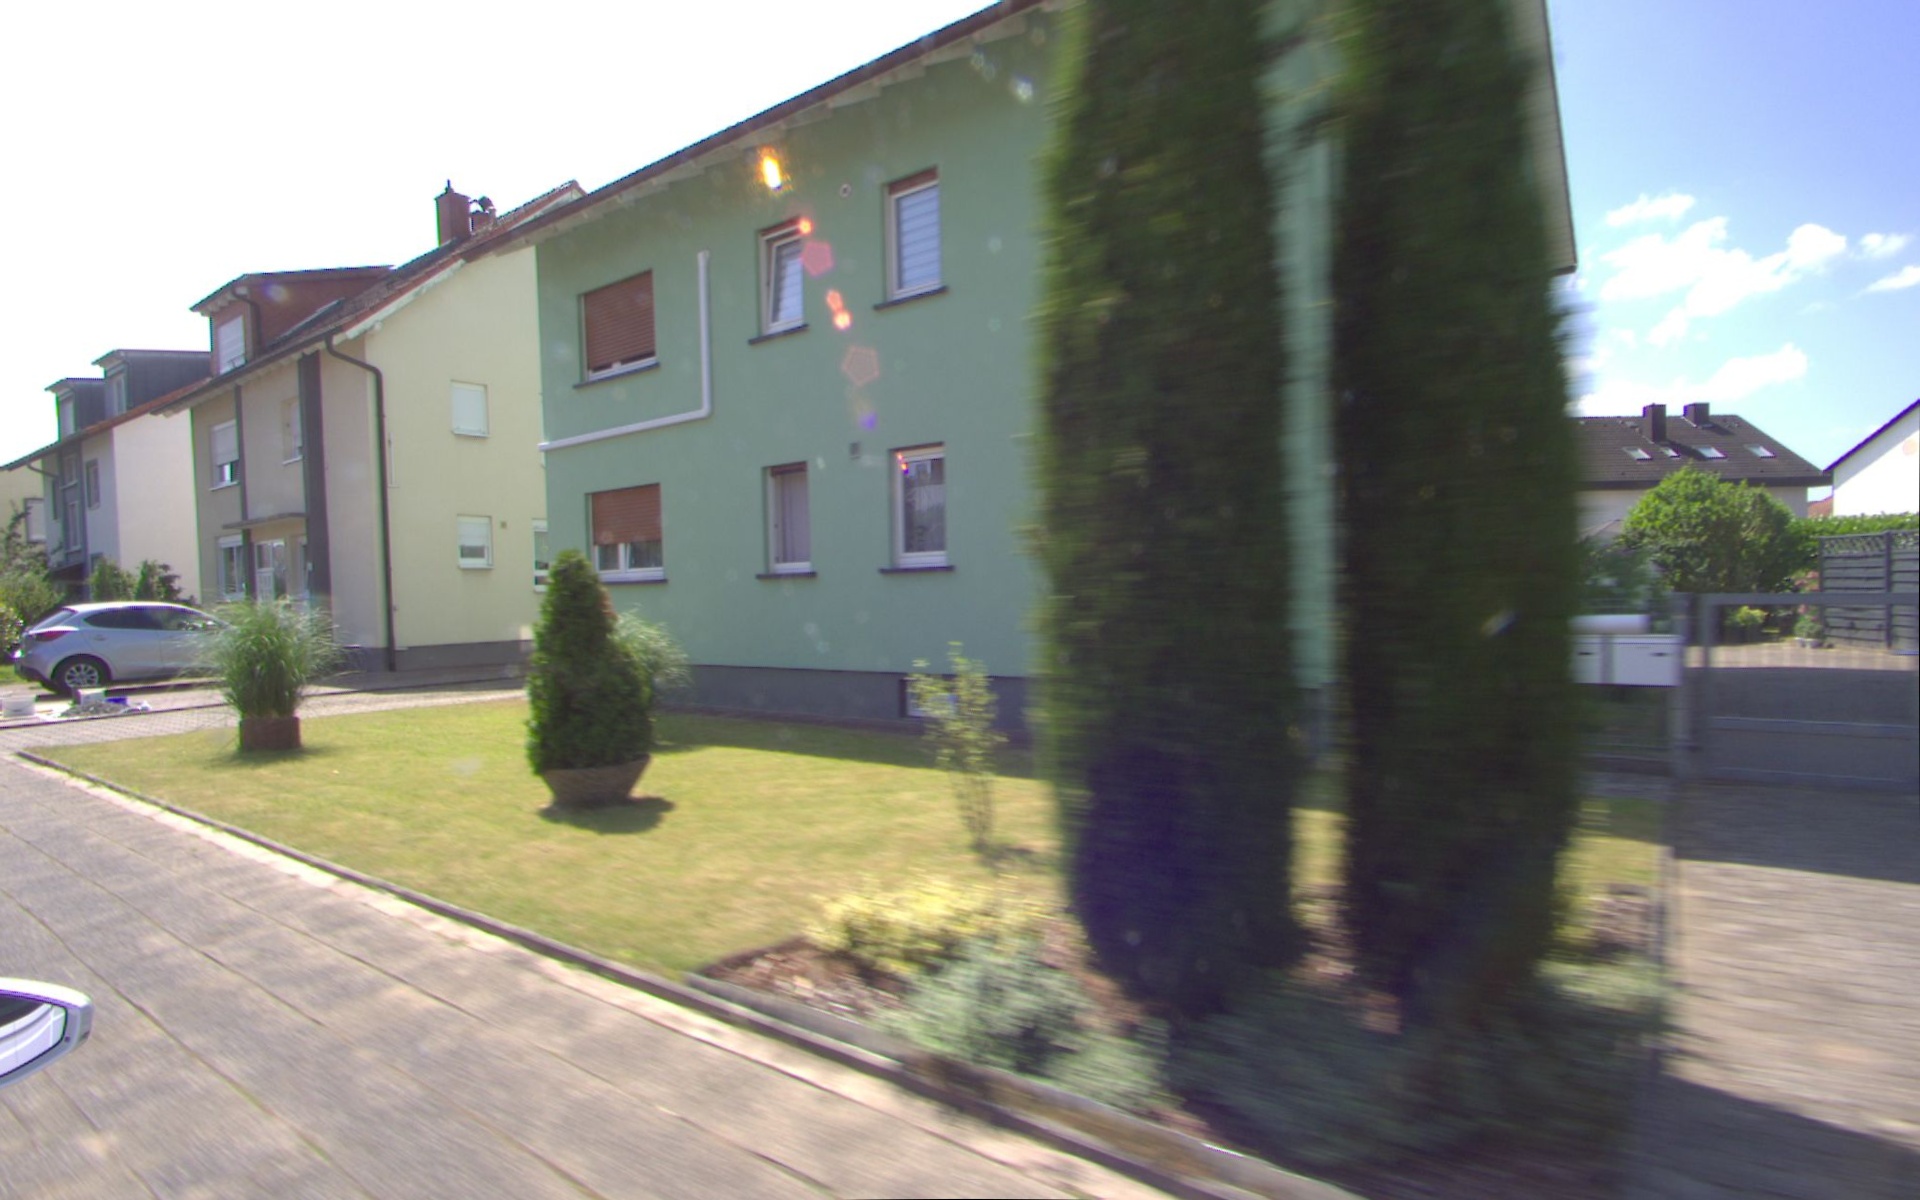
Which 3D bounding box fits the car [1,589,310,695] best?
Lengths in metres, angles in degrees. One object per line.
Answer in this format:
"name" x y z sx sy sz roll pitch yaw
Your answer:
"car" -13.969 0.645 17.586 1.752 1.530 3.896 0 2 38
